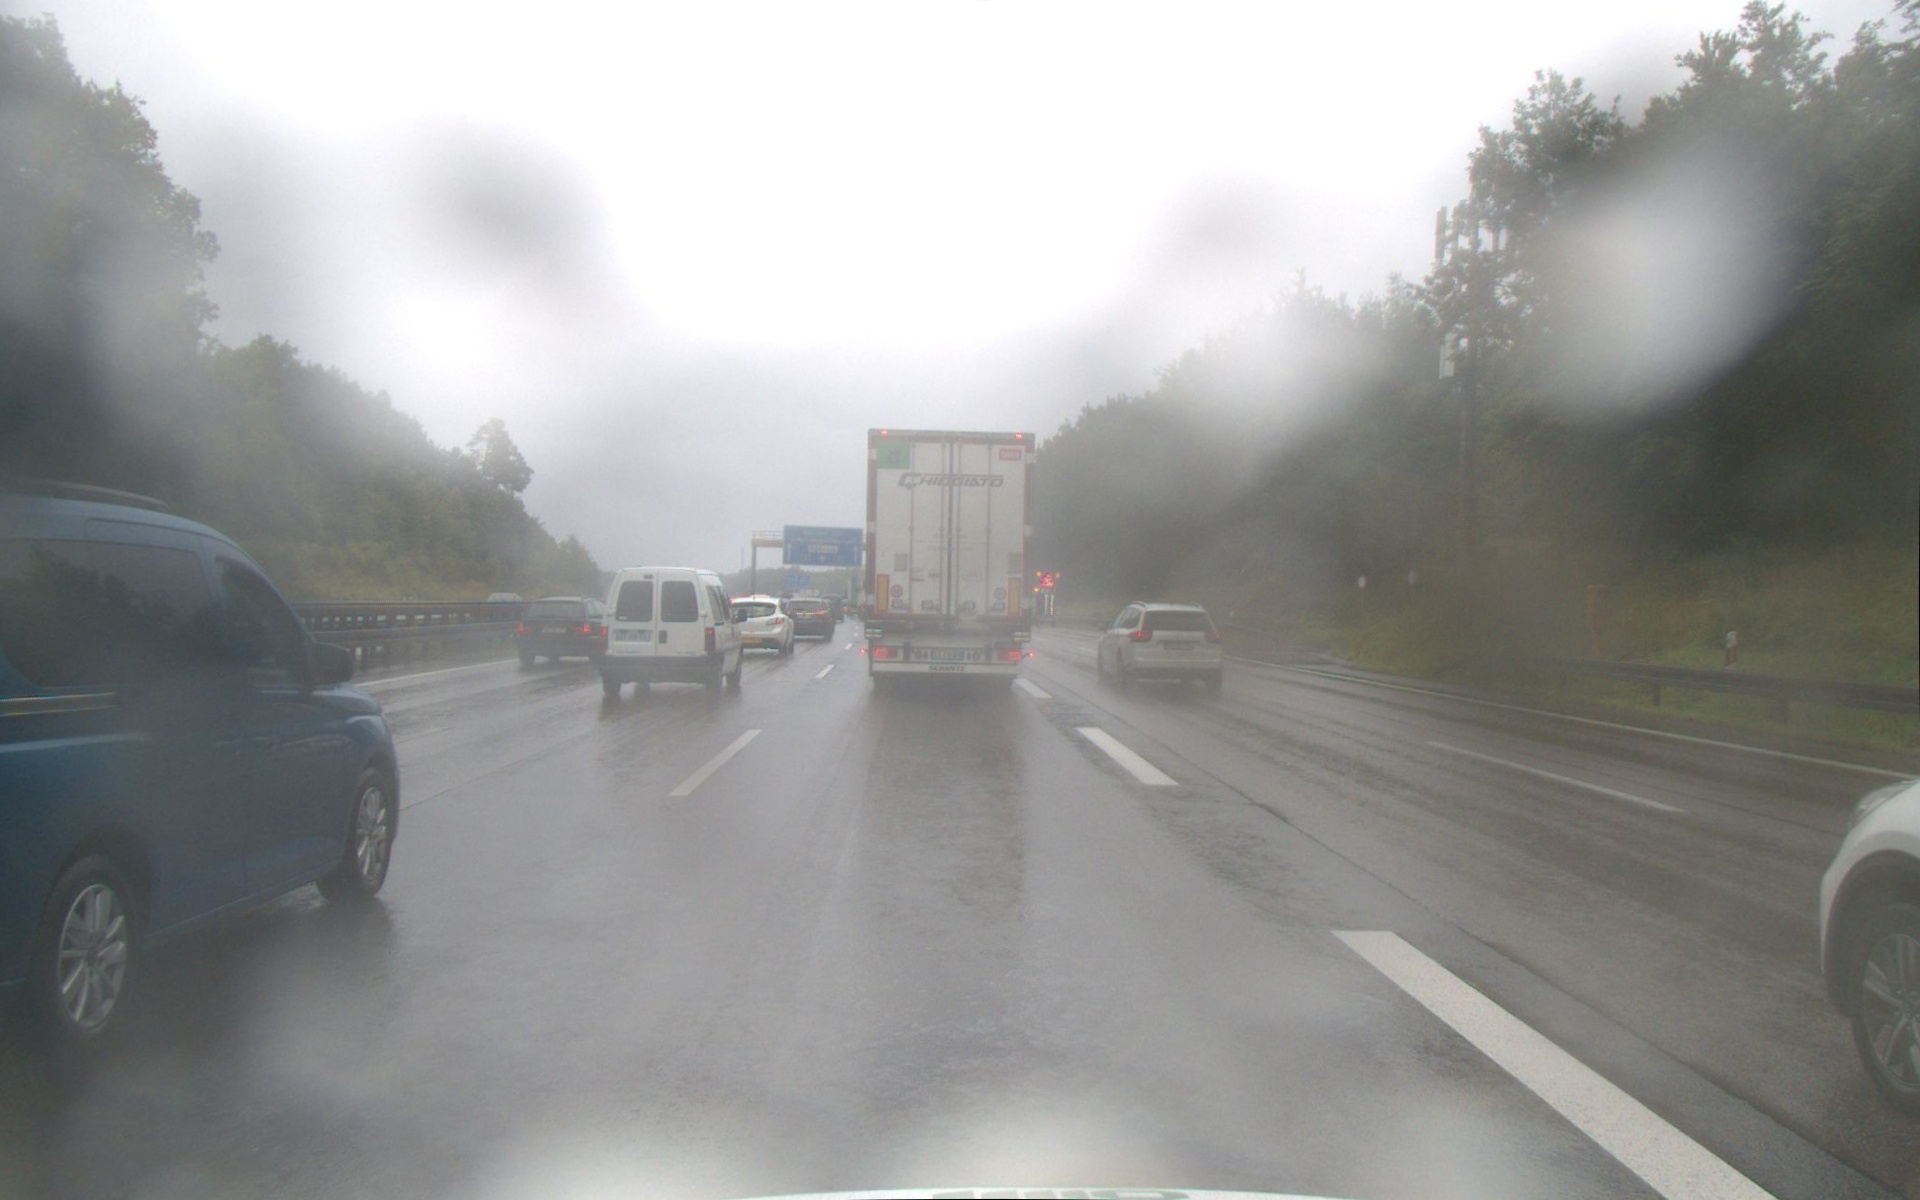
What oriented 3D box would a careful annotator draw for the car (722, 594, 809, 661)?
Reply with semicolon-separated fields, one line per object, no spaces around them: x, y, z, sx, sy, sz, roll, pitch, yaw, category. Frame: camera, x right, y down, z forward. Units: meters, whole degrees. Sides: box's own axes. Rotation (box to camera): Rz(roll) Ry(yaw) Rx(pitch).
-5.041;0.683;43.303;1.808;1.619;4.071;1;0;-1;car

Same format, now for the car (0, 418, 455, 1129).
-3.725;0.452;5.966;2.223;1.945;5.015;1;0;0;car

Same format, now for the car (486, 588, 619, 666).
-8.660;0.522;35.554;2.050;1.531;4.749;1;0;-5;car

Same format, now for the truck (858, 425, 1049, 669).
-0.255;-0.750;30.573;2.814;3.624;11.297;1;-1;-2;truck

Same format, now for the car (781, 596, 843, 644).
-5.212;0.675;58.763;1.808;1.619;4.466;1;0;-1;car

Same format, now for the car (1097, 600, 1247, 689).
3.714;0.735;29.714;1.966;1.418;4.566;1;0;-2;car

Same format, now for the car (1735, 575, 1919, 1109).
3.732;0.723;3.734;1.808;1.549;4.342;1;0;-2;car

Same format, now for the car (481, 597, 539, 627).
-21.141;0.555;77.862;1.765;1.368;3.675;1;0;-1;car

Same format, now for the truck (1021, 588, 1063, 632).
5.749;0.674;116.424;2.536;2.992;6.455;1;0;-1;truck

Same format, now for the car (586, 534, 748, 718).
-4.541;0.373;26.339;2.170;2.618;5.008;1;0;-7;car
